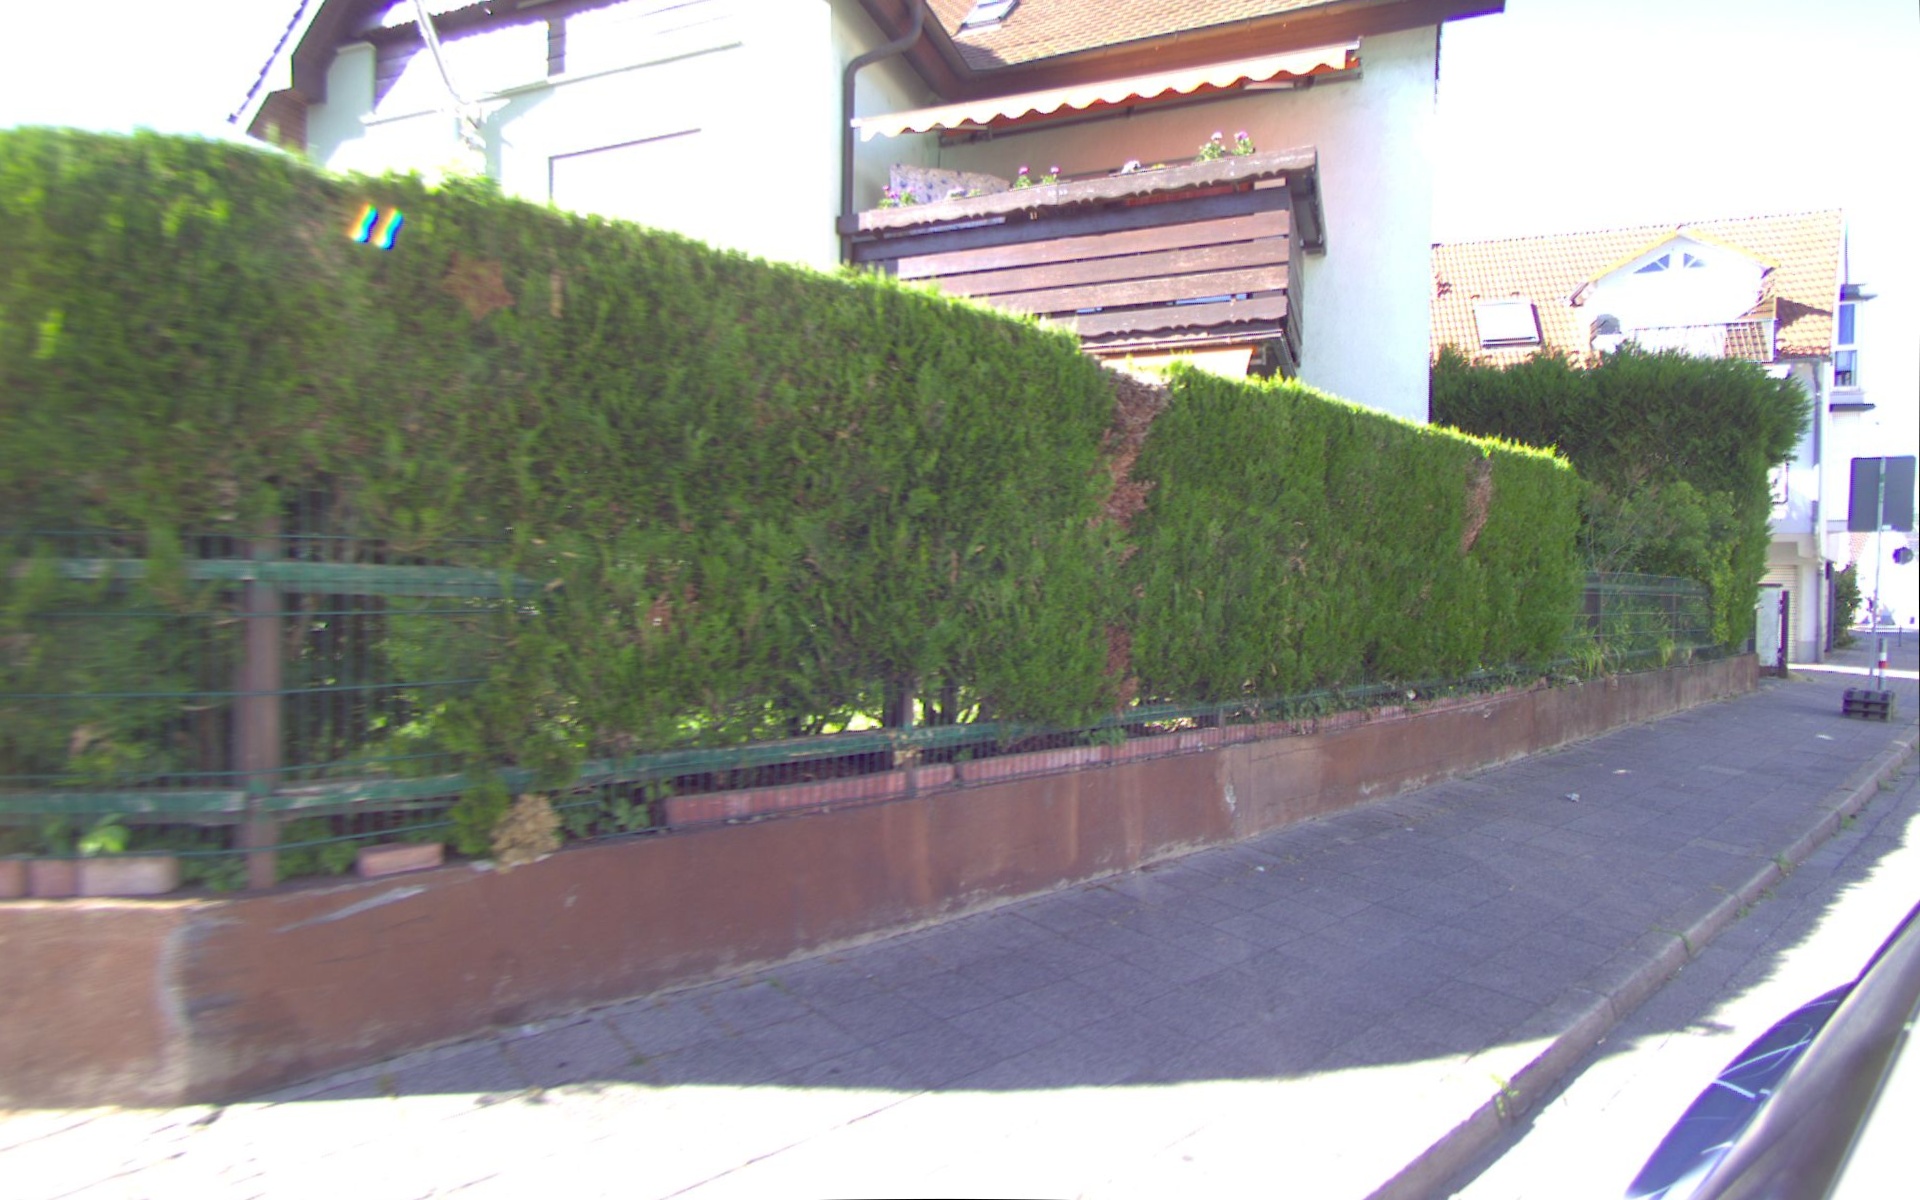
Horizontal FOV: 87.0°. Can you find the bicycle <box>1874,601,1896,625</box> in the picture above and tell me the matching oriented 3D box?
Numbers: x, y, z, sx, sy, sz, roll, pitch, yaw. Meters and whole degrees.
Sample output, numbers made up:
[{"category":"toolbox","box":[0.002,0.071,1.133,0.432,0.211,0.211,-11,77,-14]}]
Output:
[{"category":"bicycle","box":[49.084,0.686,53.733,0.636,1.197,1.995,2,1,37]}]

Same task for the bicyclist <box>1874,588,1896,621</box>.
[{"category":"bicyclist","box":[49.124,0.231,53.725,0.641,1.684,0.597,7,5,37]}]
